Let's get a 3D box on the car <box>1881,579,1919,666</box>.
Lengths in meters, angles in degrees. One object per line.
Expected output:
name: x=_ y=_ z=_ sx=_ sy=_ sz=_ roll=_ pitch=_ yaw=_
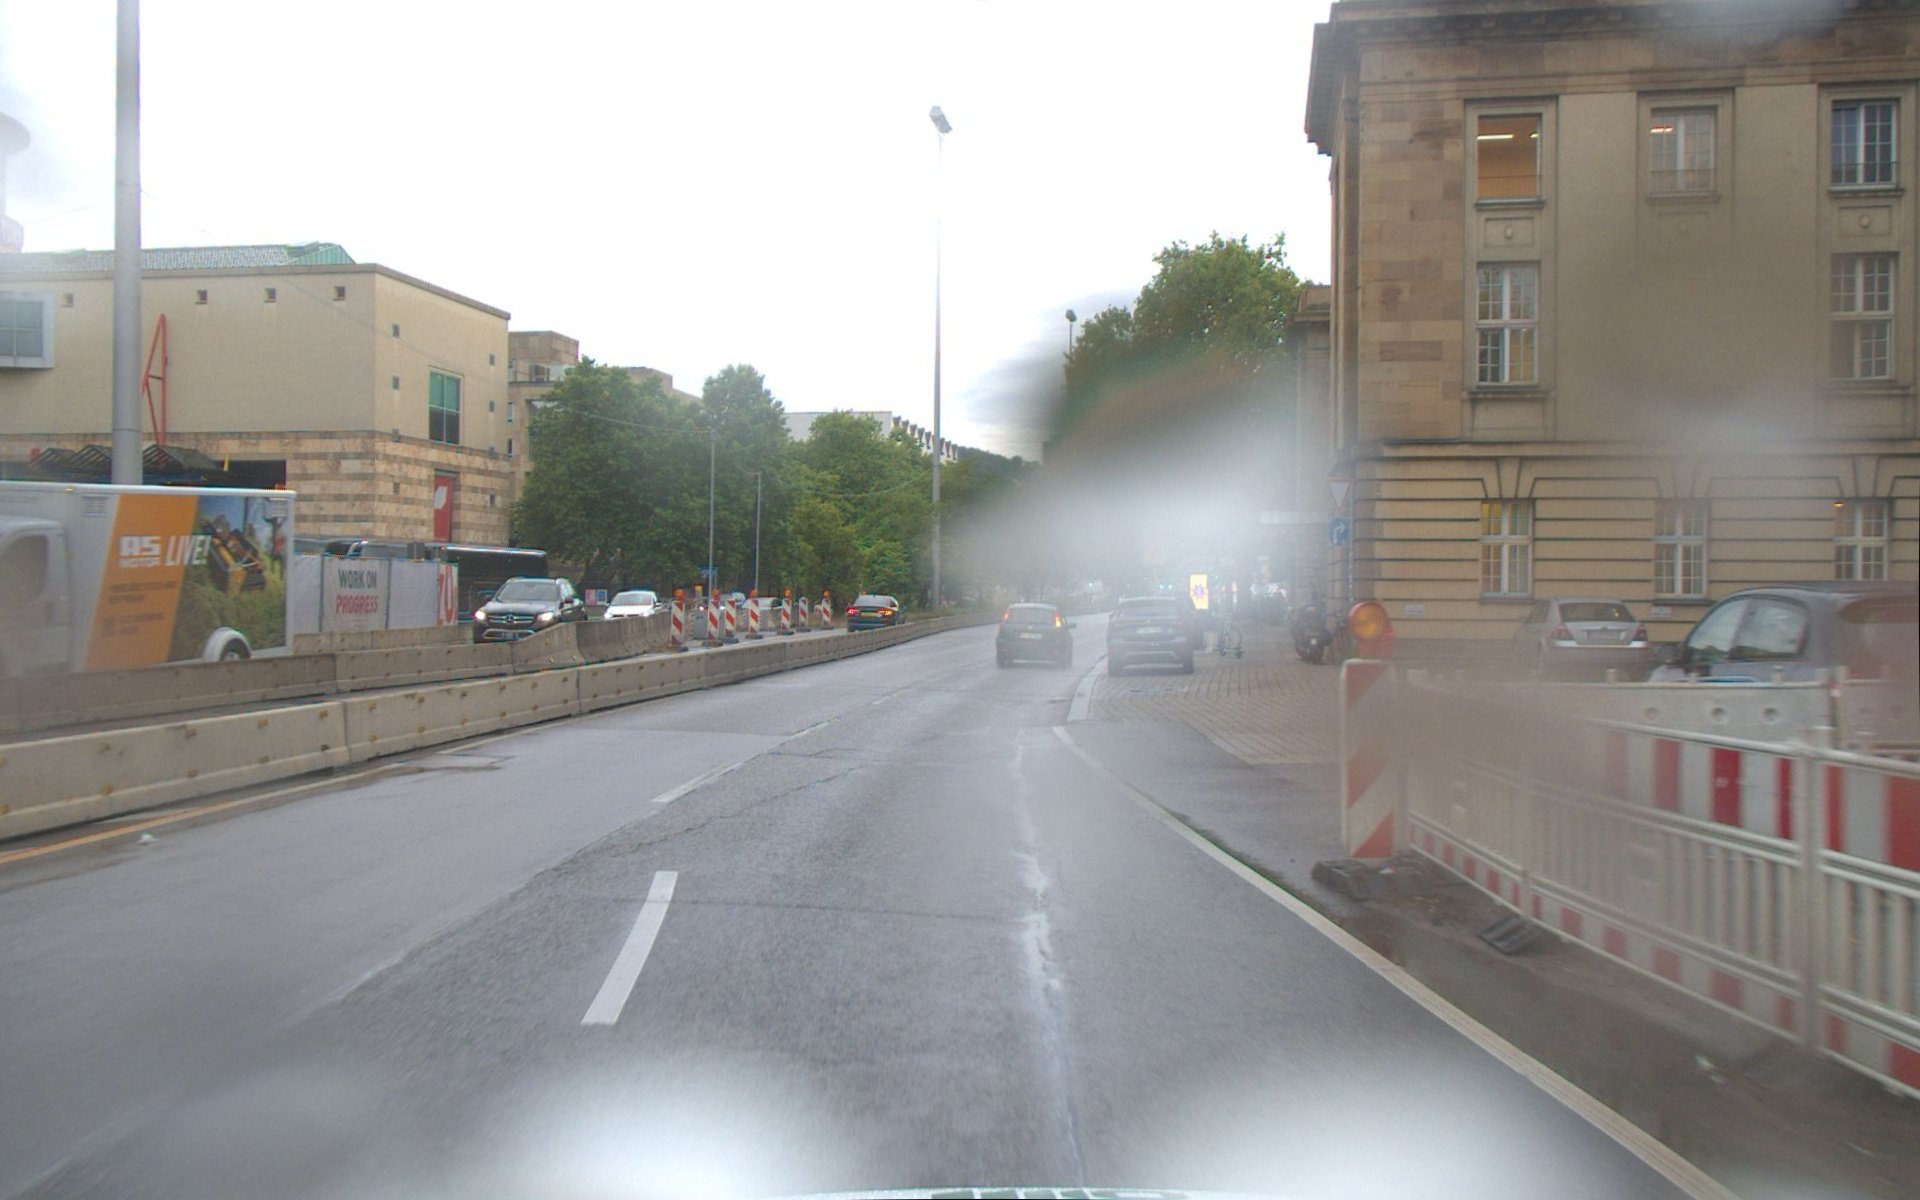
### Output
car: x=18.122 y=0.398 z=29.271 sx=1.779 sy=1.567 sz=4.512 roll=0 pitch=0 yaw=10

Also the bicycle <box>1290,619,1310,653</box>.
bicycle: x=10.729 y=1.135 z=52.208 sx=0.571 sy=1.056 sz=1.760 roll=1 pitch=-1 yaw=13

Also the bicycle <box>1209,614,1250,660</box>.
bicycle: x=7.583 y=1.032 z=46.659 sx=0.760 sy=1.240 sz=1.965 roll=-1 pitch=-1 yaw=-2

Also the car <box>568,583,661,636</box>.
car: x=-10.705 y=0.275 z=51.526 sx=1.952 sy=1.557 sz=4.001 roll=1 pitch=0 yaw=2

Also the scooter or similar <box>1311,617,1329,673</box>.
scooter or similar: x=9.497 y=1.185 z=43.621 sx=0.404 sy=1.442 sz=1.269 roll=1 pitch=-1 yaw=13

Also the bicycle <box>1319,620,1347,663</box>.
bicycle: x=9.638 y=1.069 z=42.731 sx=0.410 sy=1.068 sz=1.771 roll=1 pitch=-1 yaw=22

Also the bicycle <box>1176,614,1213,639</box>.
bicycle: x=11.050 y=1.253 z=77.879 sx=1.643 sy=1.109 sz=0.651 roll=1 pitch=-1 yaw=11

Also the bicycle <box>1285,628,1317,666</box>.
bicycle: x=10.166 y=1.386 z=49.285 sx=0.697 sy=1.070 sz=1.741 roll=1 pitch=-1 yaw=4

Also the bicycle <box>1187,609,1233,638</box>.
bicycle: x=11.935 y=1.121 z=78.993 sx=2.144 sy=1.360 sz=0.651 roll=1 pitch=-1 yaw=11

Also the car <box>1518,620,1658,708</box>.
car: x=11.121 y=1.091 z=29.542 sx=1.488 sy=1.435 sz=4.131 roll=1 pitch=-1 yaw=8

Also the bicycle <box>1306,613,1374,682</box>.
bicycle: x=7.653 y=0.944 z=33.372 sx=1.078 sy=1.340 sz=1.860 roll=1 pitch=-1 yaw=5

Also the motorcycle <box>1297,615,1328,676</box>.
motorcycle: x=8.186 y=1.048 z=38.369 sx=0.653 sy=1.349 sz=2.136 roll=1 pitch=-1 yaw=13

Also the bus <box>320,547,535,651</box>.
bus: x=-24.542 y=-0.032 z=77.473 sx=3.052 sy=4.326 sz=13.505 roll=2 pitch=0 yaw=12

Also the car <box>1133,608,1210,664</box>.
car: x=5.789 y=0.978 z=44.959 sx=1.721 sy=1.439 sz=3.154 roll=1 pitch=-1 yaw=14

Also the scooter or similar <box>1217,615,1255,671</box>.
scooter or similar: x=6.738 y=1.038 z=40.350 sx=0.426 sy=1.315 sz=1.253 roll=2 pitch=-1 yaw=-14

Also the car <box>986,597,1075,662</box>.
car: x=1.613 y=0.705 z=38.887 sx=1.807 sy=1.441 sz=3.837 roll=-1 pitch=-1 yaw=-2

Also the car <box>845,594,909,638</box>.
car: x=-2.990 y=0.598 z=60.189 sx=1.717 sy=1.477 sz=4.002 roll=-3 pitch=-1 yaw=5

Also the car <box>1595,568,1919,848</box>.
car: x=5.641 y=0.637 z=10.839 sx=1.652 sy=1.521 sz=3.621 roll=1 pitch=-1 yaw=2

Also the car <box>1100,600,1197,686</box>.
car: x=3.943 y=0.831 z=34.137 sx=1.831 sy=1.647 sz=4.408 roll=0 pitch=0 yaw=8

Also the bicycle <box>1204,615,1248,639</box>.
bicycle: x=12.273 y=1.248 z=76.314 sx=1.943 sy=1.078 sz=0.760 roll=1 pitch=-1 yaw=6

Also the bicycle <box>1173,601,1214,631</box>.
bicycle: x=11.046 y=0.758 z=78.338 sx=1.865 sy=1.356 sz=0.651 roll=1 pitch=-1 yaw=11

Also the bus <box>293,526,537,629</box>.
bus: x=-23.021 y=-0.842 z=71.403 sx=2.744 sy=3.877 sz=14.608 roll=2 pitch=0 yaw=13

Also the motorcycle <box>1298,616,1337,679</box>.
motorcycle: x=7.805 y=1.023 z=36.081 sx=0.789 sy=1.321 sz=1.800 roll=1 pitch=-1 yaw=13

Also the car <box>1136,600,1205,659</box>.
car: x=6.943 y=0.953 z=54.267 sx=1.951 sy=1.812 sz=4.192 roll=1 pitch=-1 yaw=11

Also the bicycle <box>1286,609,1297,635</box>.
bicycle: x=14.570 y=0.975 z=72.694 sx=0.344 sy=1.099 sz=1.790 roll=-1 pitch=-1 yaw=8

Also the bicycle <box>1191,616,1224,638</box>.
bicycle: x=11.952 y=1.300 z=79.840 sx=1.555 sy=1.012 sz=0.525 roll=1 pitch=0 yaw=11

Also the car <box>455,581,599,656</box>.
car: x=-9.747 y=0.388 z=37.649 sx=1.880 sy=1.557 sz=4.762 roll=1 pitch=0 yaw=2

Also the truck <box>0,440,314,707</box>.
truck: x=-10.771 y=-0.289 z=19.820 sx=2.346 sy=2.766 sz=7.360 roll=1 pitch=0 yaw=8
